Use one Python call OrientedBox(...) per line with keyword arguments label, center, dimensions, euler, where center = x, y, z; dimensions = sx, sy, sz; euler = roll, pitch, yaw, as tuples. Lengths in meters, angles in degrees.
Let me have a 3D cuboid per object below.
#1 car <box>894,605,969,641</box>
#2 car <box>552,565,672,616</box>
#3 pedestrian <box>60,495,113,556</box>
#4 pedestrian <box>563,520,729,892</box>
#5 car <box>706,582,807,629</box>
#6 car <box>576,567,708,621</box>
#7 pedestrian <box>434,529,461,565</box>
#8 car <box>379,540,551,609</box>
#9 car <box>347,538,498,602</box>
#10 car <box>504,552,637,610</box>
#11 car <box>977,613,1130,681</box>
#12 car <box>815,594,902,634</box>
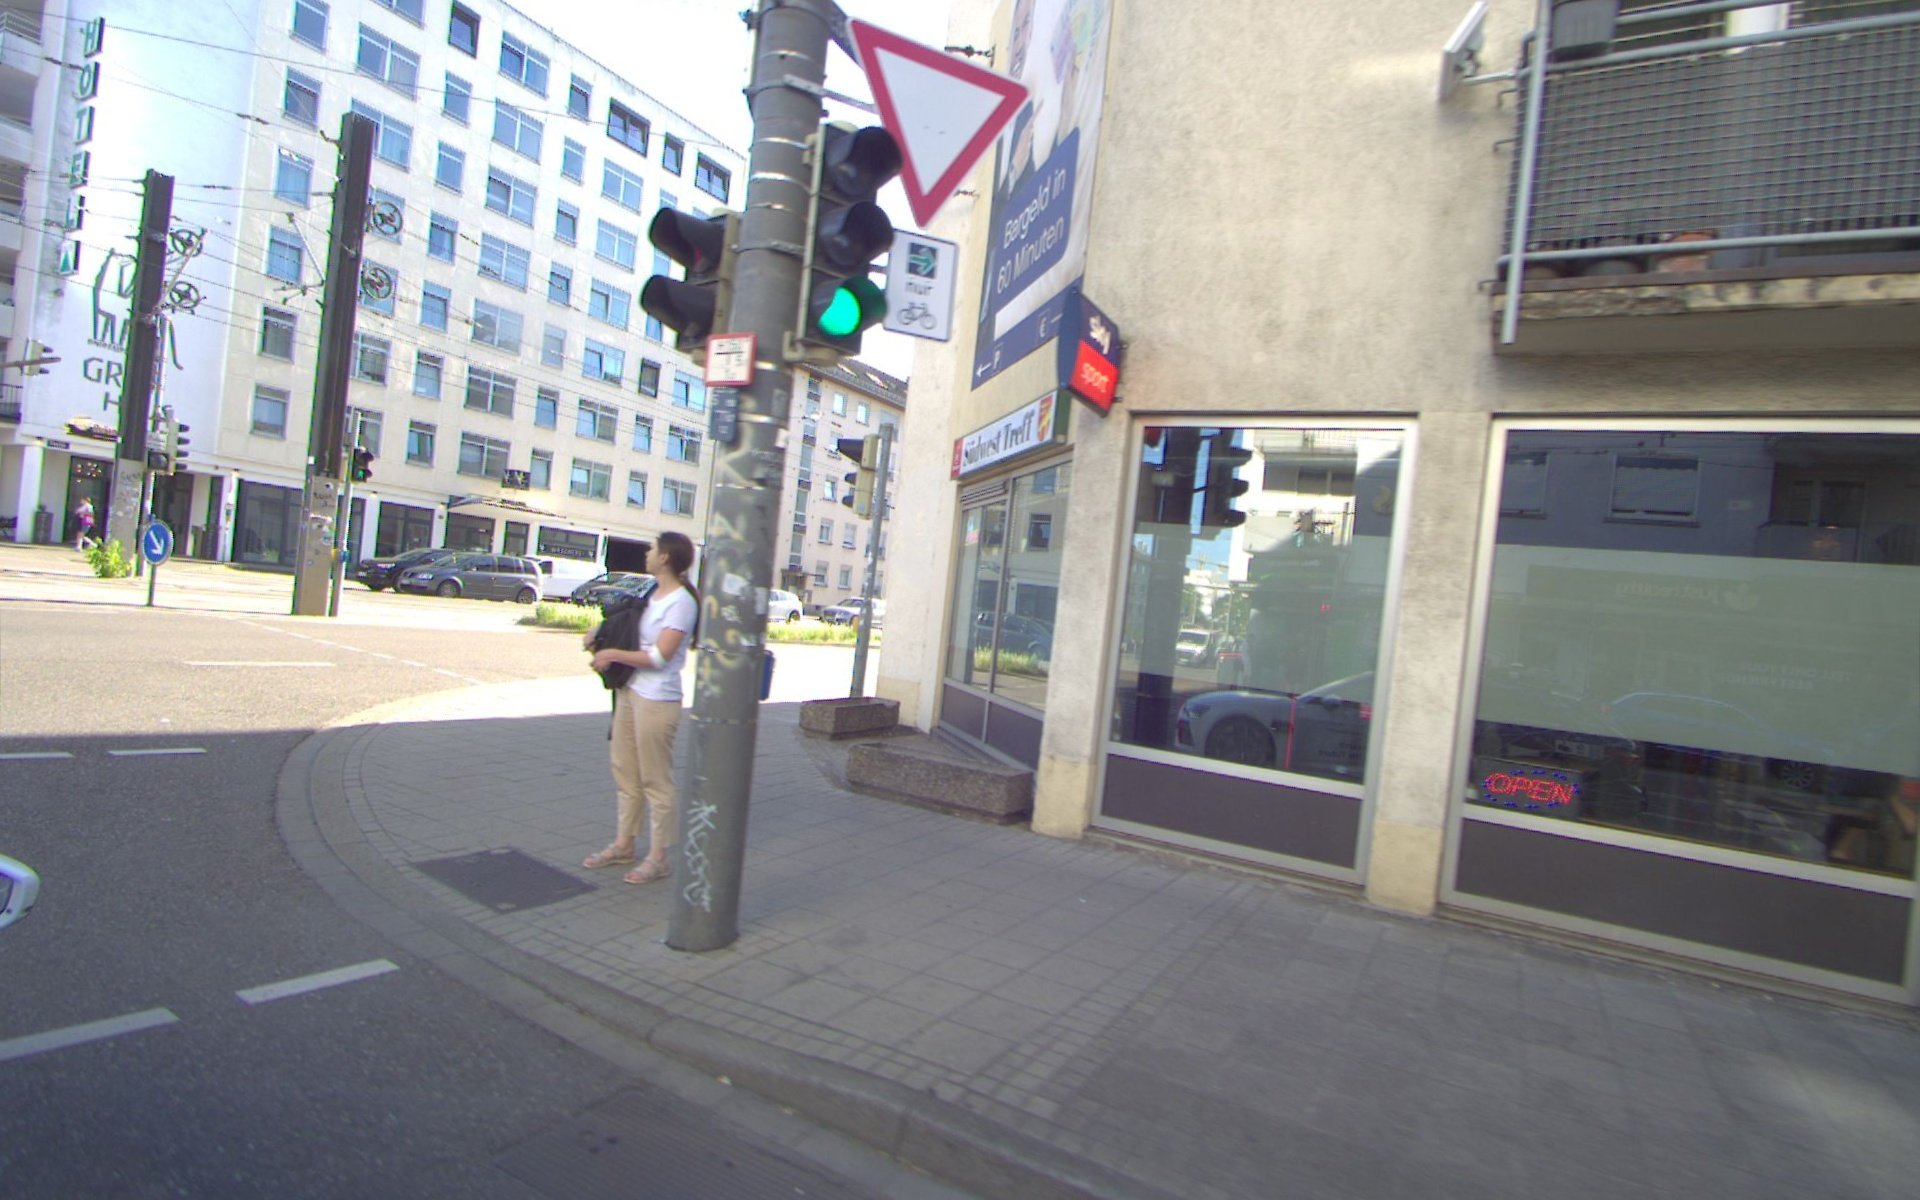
OrientedBox(label="car", center=(-1.527, 1.304, 55.574), dimensions=(1.936, 1.498, 4.563), euler=(6, -2, 30))
OrientedBox(label="car", center=(-14.290, -0.360, 41.545), dimensions=(1.956, 1.594, 4.317), euler=(6, -2, 30))
OrientedBox(label="pedestrian", center=(-27.635, -2.339, 31.818), dimensions=(0.725, 1.766, 0.909), euler=(6, -2, 29))
OrientedBox(label="pedestrian", center=(-1.539, 0.464, 4.885), dimensions=(0.535, 1.646, 0.726), euler=(1, 3, -35))
OrientedBox(label="car", center=(-8.665, 0.270, 43.152), dimensions=(1.813, 1.533, 4.238), euler=(6, -2, 29))
OrientedBox(label="car", center=(-11.912, -0.193, 37.966), dimensions=(1.795, 1.508, 4.532), euler=(6, -2, 33))
OrientedBox(label="pedestrian", center=(-21.431, -2.229, 42.090), dimensions=(0.672, 1.392, 0.529), euler=(7, -1, 10))
OrientedBox(label="car", center=(-15.507, -0.759, 31.750), dimensions=(1.905, 1.566, 4.444), euler=(6, -2, 33))
OrientedBox(label="car", center=(-17.939, -0.978, 33.757), dimensions=(1.765, 1.594, 4.041), euler=(6, -2, 30))
OrientedBox(label="car", center=(-17.311, -0.814, 45.021), dimensions=(1.916, 1.892, 5.316), euler=(9, 1, 31))
OrientedBox(label="car", center=(2.438, 1.216, 24.987), dimensions=(1.859, 1.414, 4.733), euler=(3, -2, 31))
OrientedBox(label="car", center=(-4.905, 0.701, 49.327), dimensions=(1.840, 1.596, 4.622), euler=(4, -2, 30))
